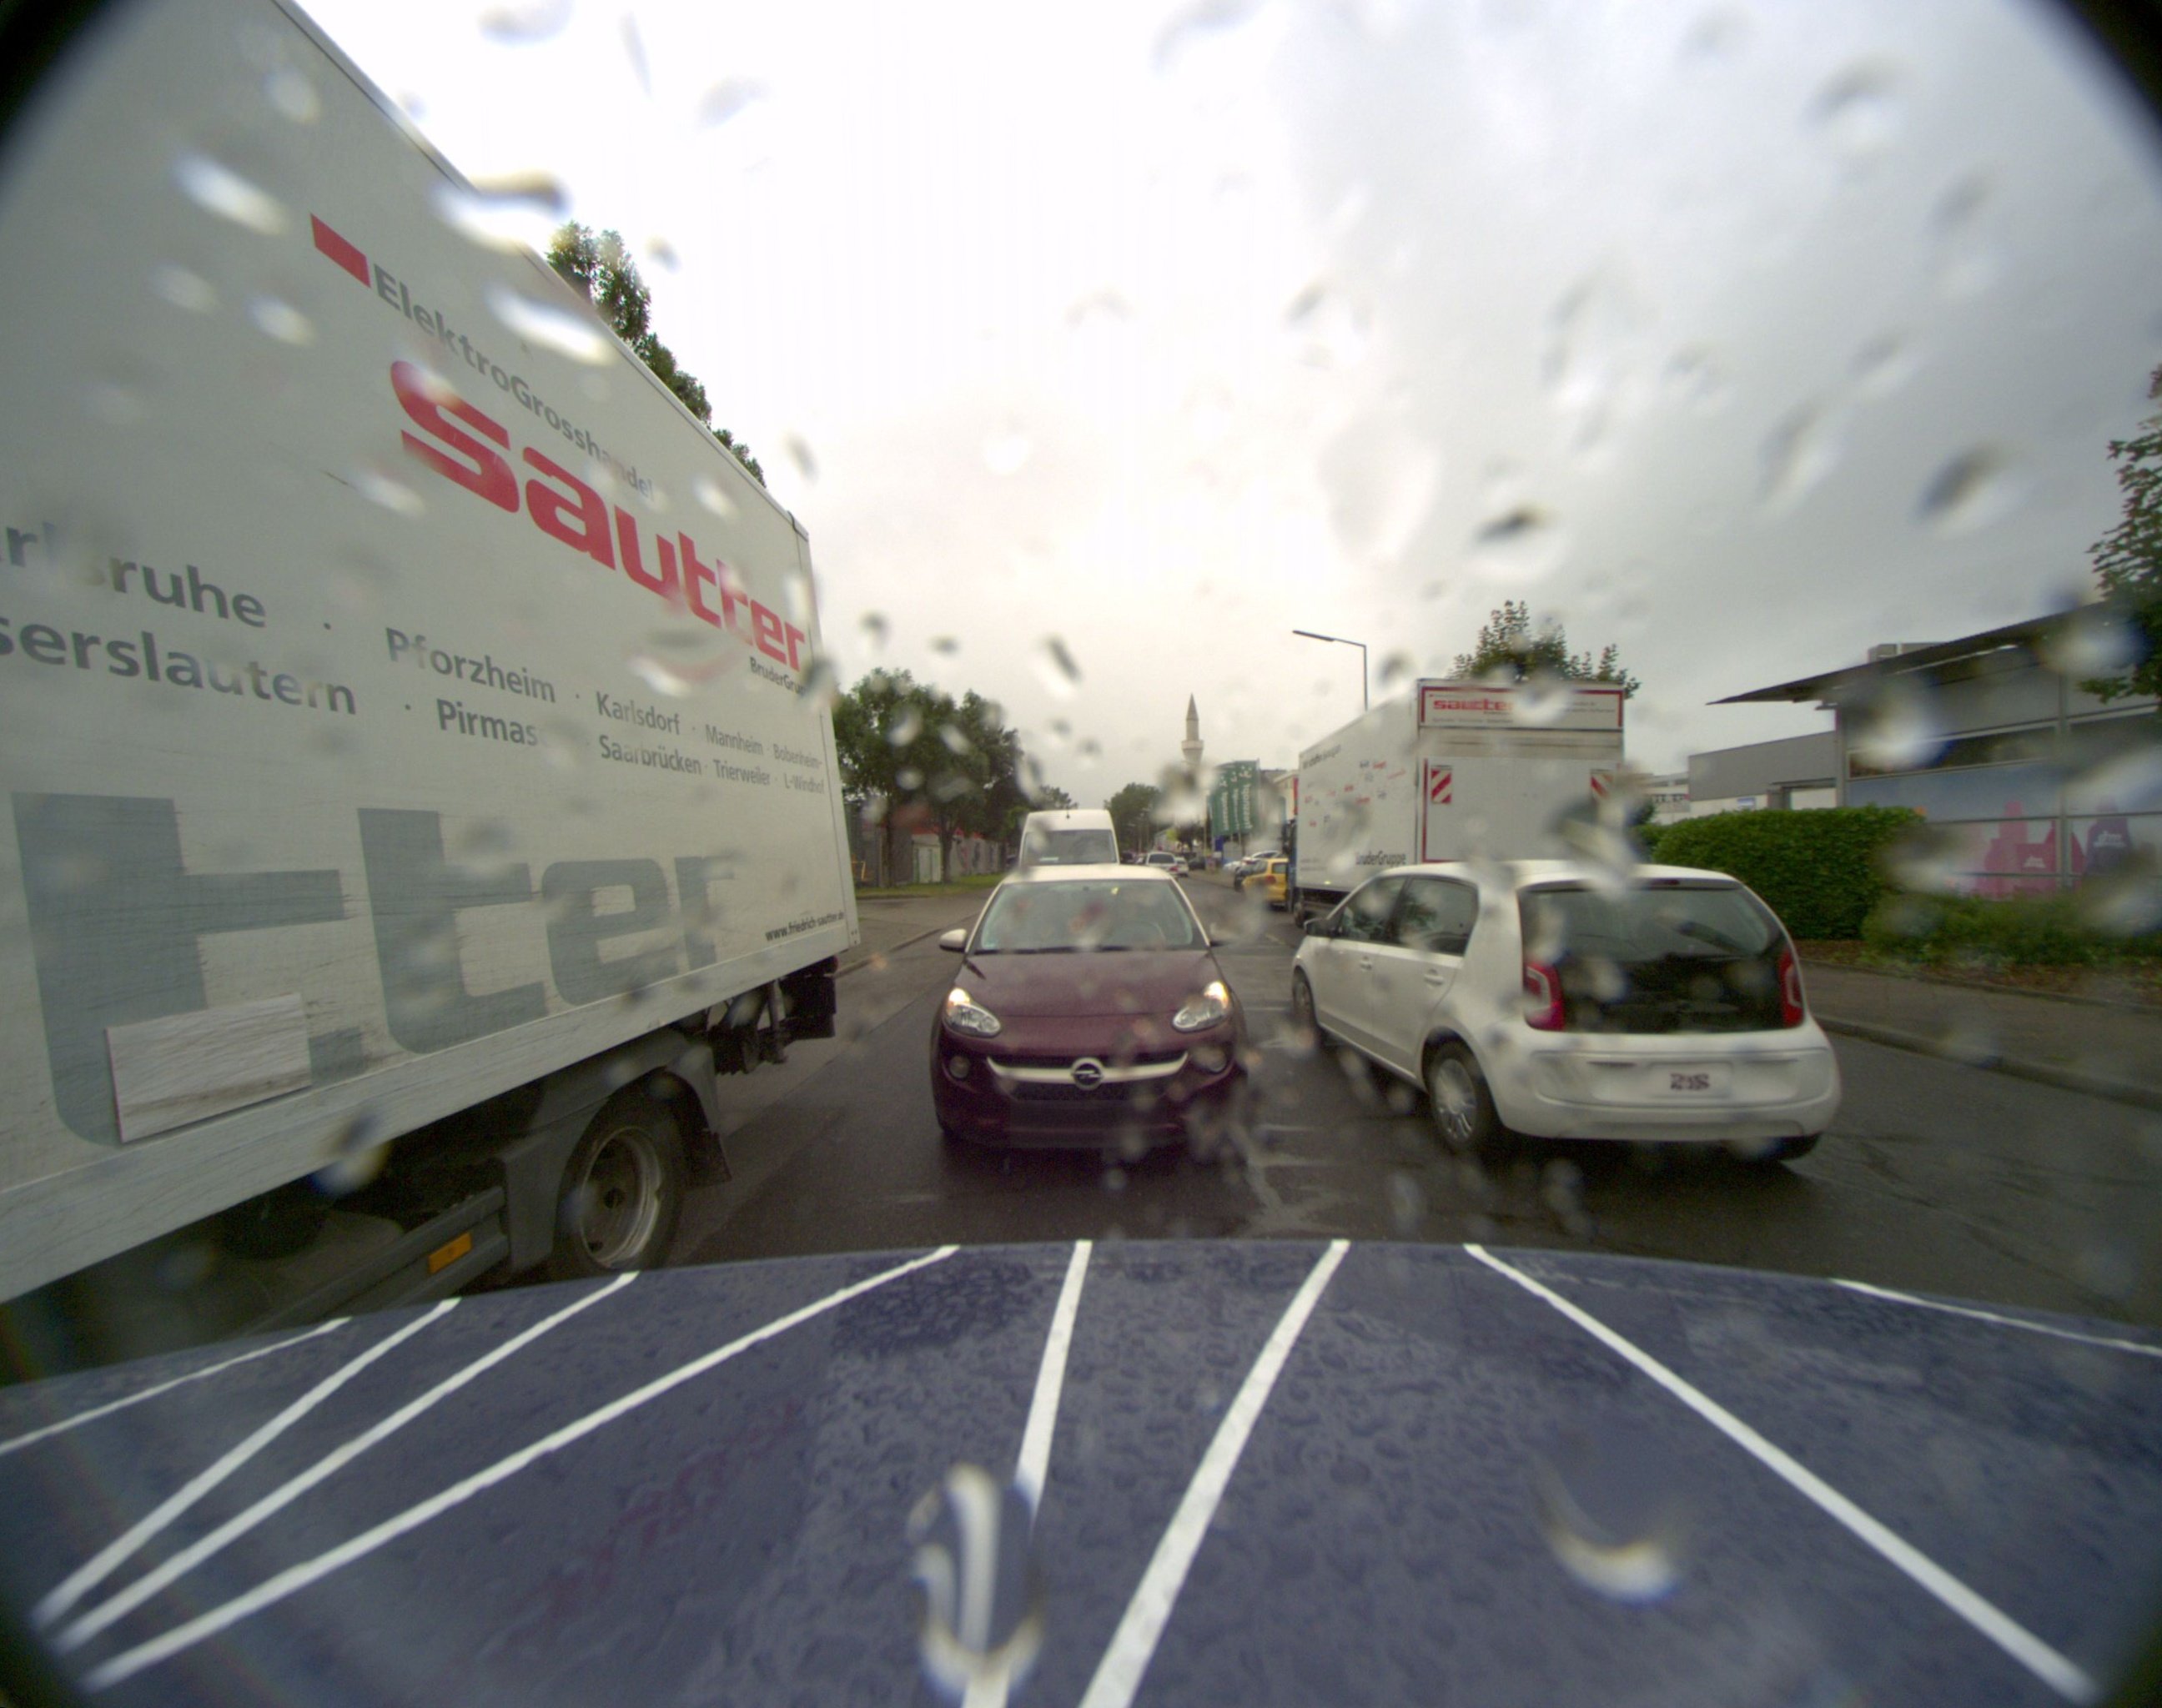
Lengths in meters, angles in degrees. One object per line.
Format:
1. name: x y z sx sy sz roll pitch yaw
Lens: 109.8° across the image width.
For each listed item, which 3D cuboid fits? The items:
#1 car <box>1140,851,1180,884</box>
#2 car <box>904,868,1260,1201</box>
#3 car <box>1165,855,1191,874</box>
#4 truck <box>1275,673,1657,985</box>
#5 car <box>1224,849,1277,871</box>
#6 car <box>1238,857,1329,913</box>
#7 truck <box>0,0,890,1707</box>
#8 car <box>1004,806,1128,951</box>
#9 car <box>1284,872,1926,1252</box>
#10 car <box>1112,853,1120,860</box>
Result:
1. car: 4.029 0.676 39.157 1.691 1.588 3.611 -1 0 0
2. car: 0.044 0.904 5.426 1.637 1.446 3.578 -3 0 1
3. car: 7.481 0.796 58.835 1.579 1.333 3.611 -1 0 0
4. truck: 5.658 -0.295 13.130 2.888 3.724 7.869 -1 0 3
5. car: 12.766 0.436 57.290 3.609 1.588 1.692 -1 0 -2
6. car: 5.747 0.830 21.928 1.691 1.457 3.513 -1 0 0
7. truck: -2.853 0.007 0.959 2.678 3.670 8.010 -4 0 2
8. car: -0.267 0.420 15.833 2.085 2.466 5.346 -1 0 0
9. car: 2.553 0.873 4.742 1.615 1.430 3.407 0 0 -1
10. car: 7.834 0.569 168.414 1.579 1.333 3.611 -1 0 0
